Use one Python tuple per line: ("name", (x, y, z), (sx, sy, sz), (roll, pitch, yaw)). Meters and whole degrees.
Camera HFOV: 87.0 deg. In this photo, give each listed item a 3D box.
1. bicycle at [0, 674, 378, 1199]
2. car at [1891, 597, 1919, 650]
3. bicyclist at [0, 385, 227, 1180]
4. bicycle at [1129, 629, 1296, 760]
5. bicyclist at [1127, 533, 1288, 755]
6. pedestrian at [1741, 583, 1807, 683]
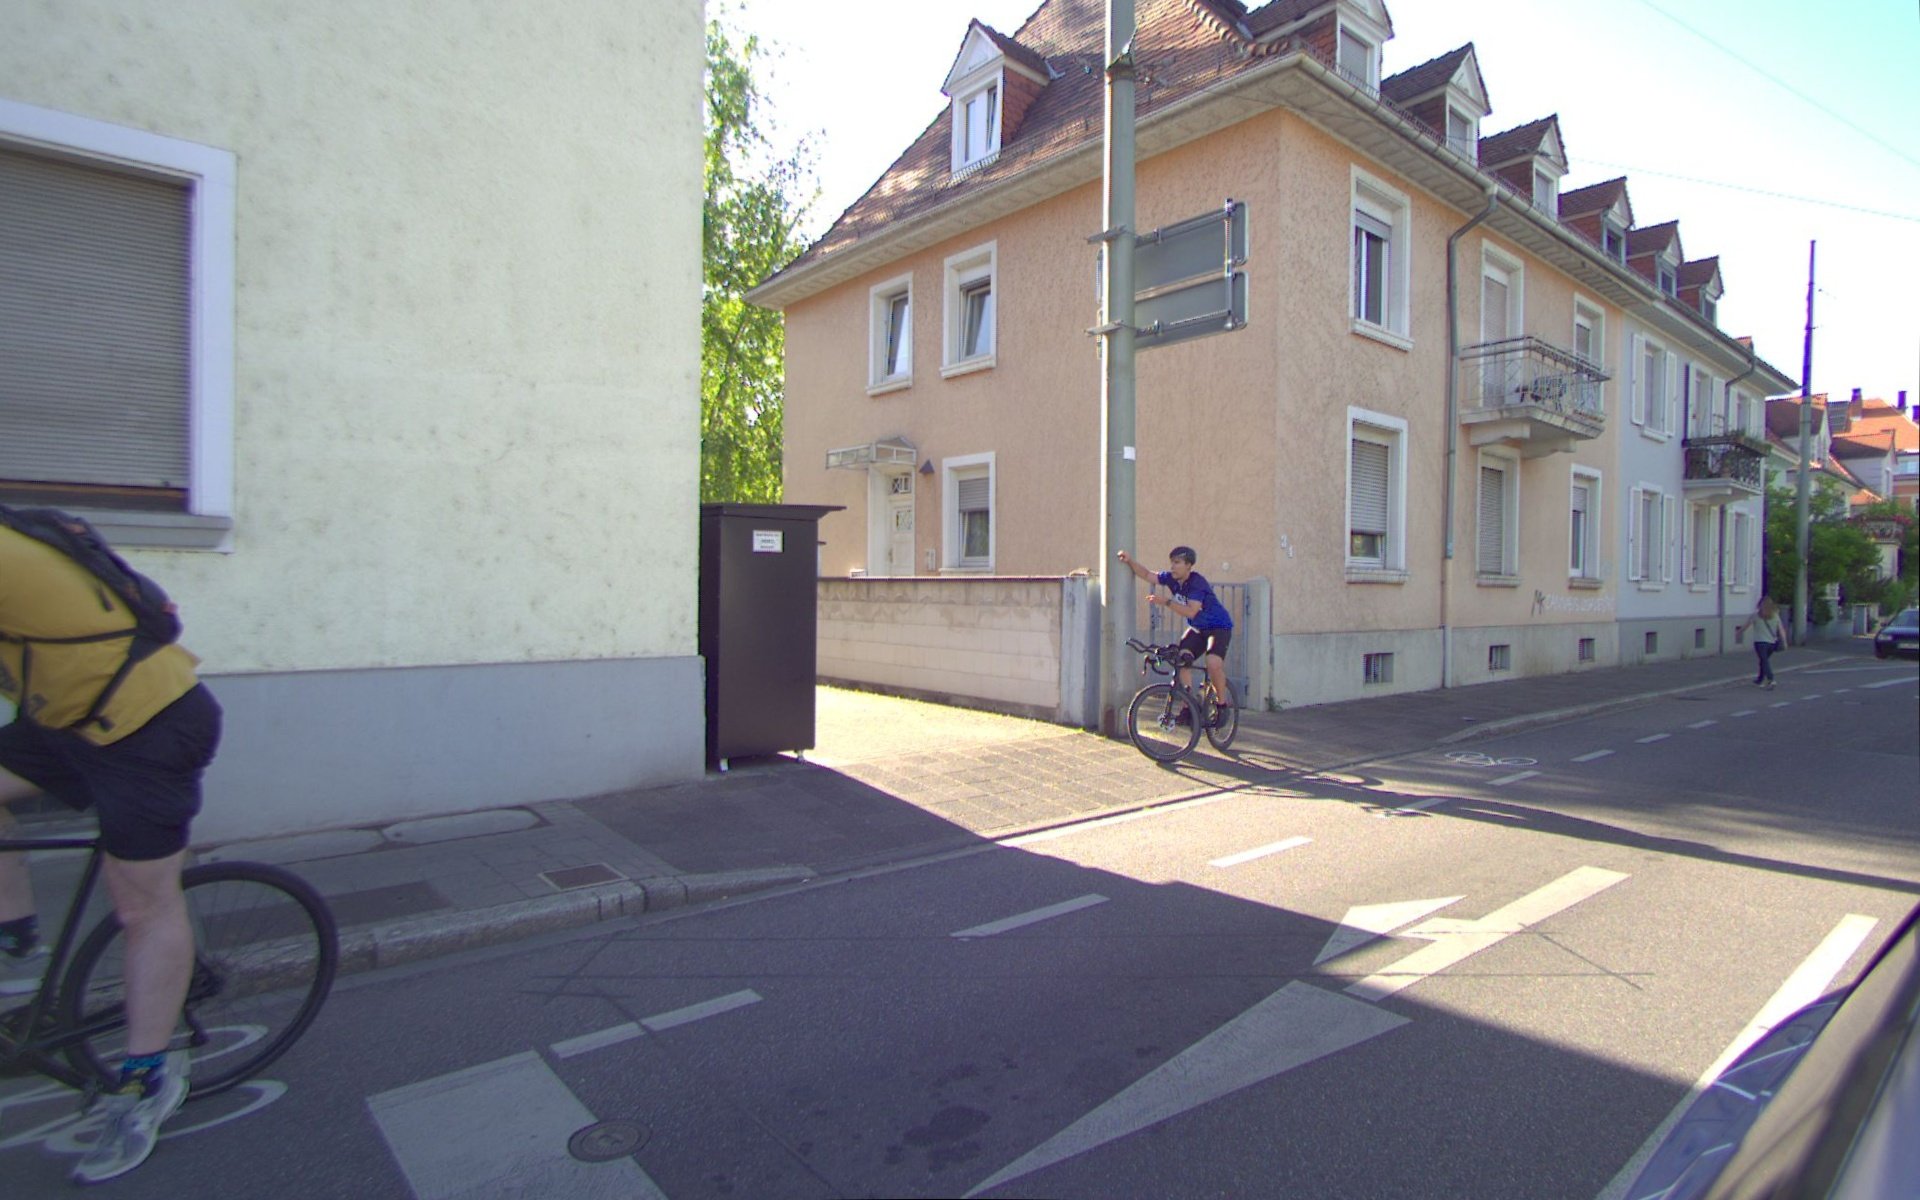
("bicycle", (-2.468, 0.840, 2.541), (1.669, 1.180, 0.572), (0, 1, -41))
("car", (26.708, 0.623, 27.349), (3.796, 1.382, 1.648), (0, 1, -38))
("bicyclist", (-2.494, 0.418, 2.530), (1.018, 1.840, 0.653), (0, 1, -41))
("bicycle", (2.325, 0.813, 9.215), (1.669, 1.003, 0.572), (0, 4, -41))
("bicyclist", (2.292, 0.356, 9.440), (0.831, 1.887, 1.076), (0, 4, -40))
("pedestrian", (14.260, 0.552, 17.728), (1.079, 1.682, 0.694), (0, 0, -39))
